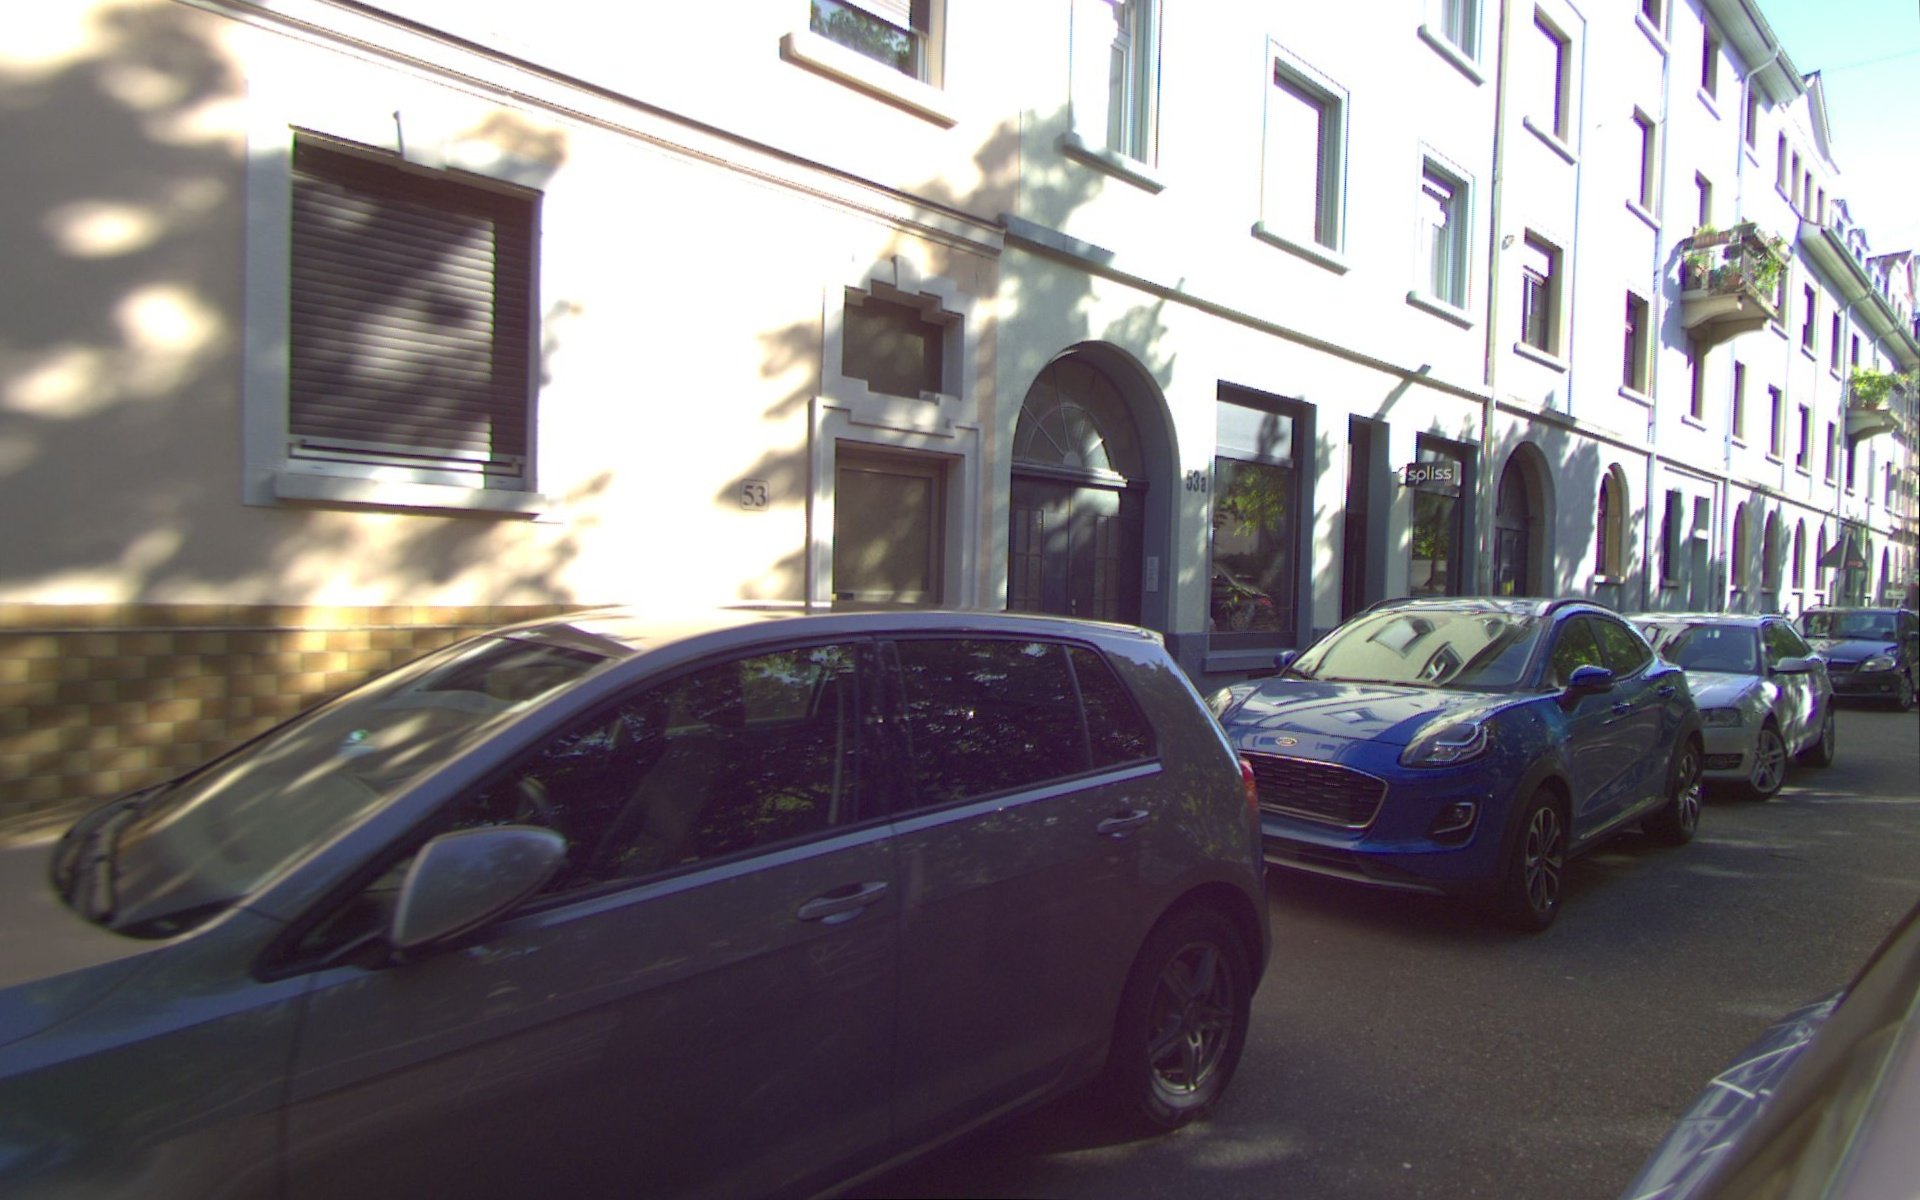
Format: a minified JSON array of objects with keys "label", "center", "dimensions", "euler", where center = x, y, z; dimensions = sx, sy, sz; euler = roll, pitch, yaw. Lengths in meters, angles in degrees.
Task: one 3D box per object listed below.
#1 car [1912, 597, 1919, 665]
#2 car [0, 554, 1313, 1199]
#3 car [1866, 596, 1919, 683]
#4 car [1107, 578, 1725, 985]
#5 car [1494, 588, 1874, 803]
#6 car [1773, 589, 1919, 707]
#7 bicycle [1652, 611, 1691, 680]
[{"label":"car","center":[22.723,0.722,22.654],"dimensions":[4.489,1.437,1.610],"euler":[1,2,-42]},{"label":"car","center":[-0.946,0.679,2.535],"dimensions":[3.934,1.486,1.695],"euler":[1,0,-40]},{"label":"car","center":[18.604,0.735,19.214],"dimensions":[3.898,1.511,1.602],"euler":[1,2,-42]},{"label":"car","center":[2.887,0.708,5.944],"dimensions":[4.110,1.571,1.770],"euler":[1,0,-41]},{"label":"car","center":[6.593,0.669,9.036],"dimensions":[4.214,1.449,1.773],"euler":[1,1,-40]},{"label":"car","center":[14.134,0.668,15.684],"dimensions":[3.969,1.570,1.584],"euler":[1,1,-39]},{"label":"bicycle","center":[13.117,0.812,18.650],"dimensions":[0.406,1.201,1.821],"euler":[2,1,40]}]
